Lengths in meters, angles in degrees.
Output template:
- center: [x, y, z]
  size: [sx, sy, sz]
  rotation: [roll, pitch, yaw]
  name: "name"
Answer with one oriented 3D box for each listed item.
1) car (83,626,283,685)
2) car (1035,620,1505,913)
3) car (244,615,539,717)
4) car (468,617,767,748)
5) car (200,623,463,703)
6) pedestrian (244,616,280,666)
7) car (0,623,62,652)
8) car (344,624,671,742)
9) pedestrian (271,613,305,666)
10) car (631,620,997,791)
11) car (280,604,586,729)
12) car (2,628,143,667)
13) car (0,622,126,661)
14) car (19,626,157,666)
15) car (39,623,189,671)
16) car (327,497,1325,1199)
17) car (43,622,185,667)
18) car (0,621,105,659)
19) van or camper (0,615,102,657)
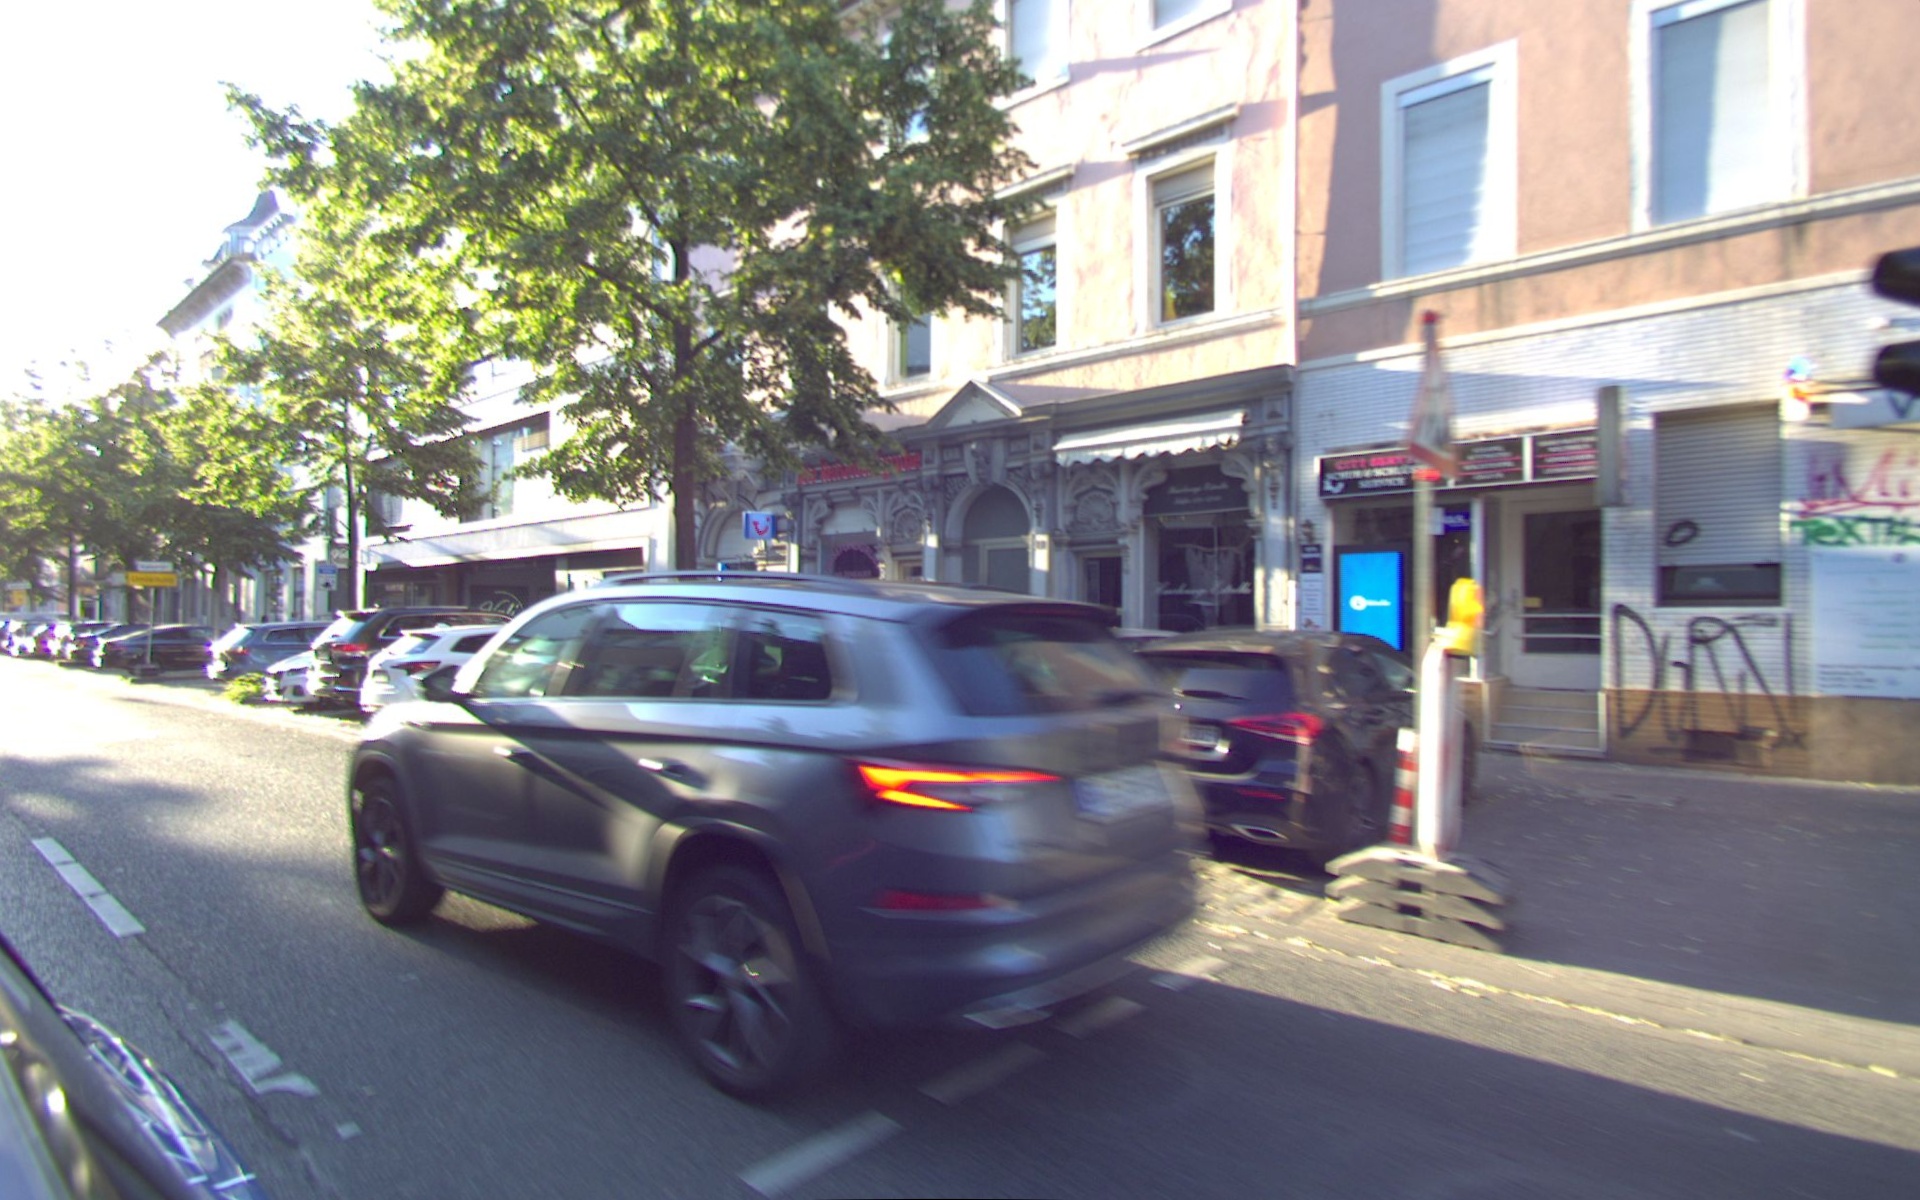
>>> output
- center: [-21.789, 1.507, 28.517]
  size: [1.743, 1.495, 4.229]
  rotation: [-2, -2, 41]
  name: "car"
- center: [2.464, 0.886, 7.284]
  size: [1.882, 1.414, 4.067]
  rotation: [-1, -1, 38]
  name: "car"
- center: [-10.310, 1.109, 18.611]
  size: [1.888, 1.608, 4.362]
  rotation: [-2, -1, 40]
  name: "car"
- center: [-4.570, 1.012, 13.862]
  size: [1.714, 1.513, 3.521]
  rotation: [-1, -1, 39]
  name: "car"
- center: [-13.313, 1.260, 21.675]
  size: [1.743, 1.495, 4.500]
  rotation: [-2, -2, 41]
  name: "car"
- center: [-23.483, 1.377, 34.031]
  size: [1.094, 1.614, 0.711]
  rotation: [-2, 0, 41]
  name: "pedestrian"
- center: [-52.666, 2.094, 55.898]
  size: [1.813, 1.536, 4.383]
  rotation: [-2, -1, 40]
  name: "car"
- center: [-6.568, 1.108, 15.060]
  size: [1.765, 1.432, 4.109]
  rotation: [-1, -1, 39]
  name: "car"
- center: [-22.916, 1.342, 34.522]
  size: [0.933, 1.762, 0.711]
  rotation: [-2, 0, 41]
  name: "pedestrian"
- center: [-1.420, 0.968, 10.922]
  size: [1.803, 1.455, 3.702]
  rotation: [-1, -1, 38]
  name: "car"
- center: [-8.593, 0.981, 16.789]
  size: [1.888, 1.786, 4.109]
  rotation: [-1, -1, 39]
  name: "car"
- center: [-35.732, 1.892, 40.826]
  size: [1.741, 1.397, 4.003]
  rotation: [-2, -1, 37]
  name: "car"
- center: [-38.907, 1.757, 43.869]
  size: [4.134, 1.548, 1.746]
  rotation: [0, 0, -43]
  name: "car"
- center: [-33.847, 1.746, 39.357]
  size: [1.742, 1.468, 3.828]
  rotation: [-2, -2, 39]
  name: "car"
- center: [-30.062, 1.637, 36.038]
  size: [1.742, 1.579, 3.828]
  rotation: [-2, -2, 39]
  name: "car"
- center: [-0.950, 0.671, 4.439]
  size: [4.457, 1.705, 1.842]
  rotation: [-1, -2, 41]
  name: "car"
- center: [-31.718, 1.642, 38.030]
  size: [1.742, 1.579, 3.828]
  rotation: [-2, -2, 39]
  name: "car"
- center: [-42.541, 1.841, 47.016]
  size: [1.732, 1.681, 4.137]
  rotation: [-1, -1, 43]
  name: "car"
- center: [-44.709, 1.750, 49.178]
  size: [1.789, 1.971, 4.410]
  rotation: [-2, -2, 42]
  name: "van or camper"
